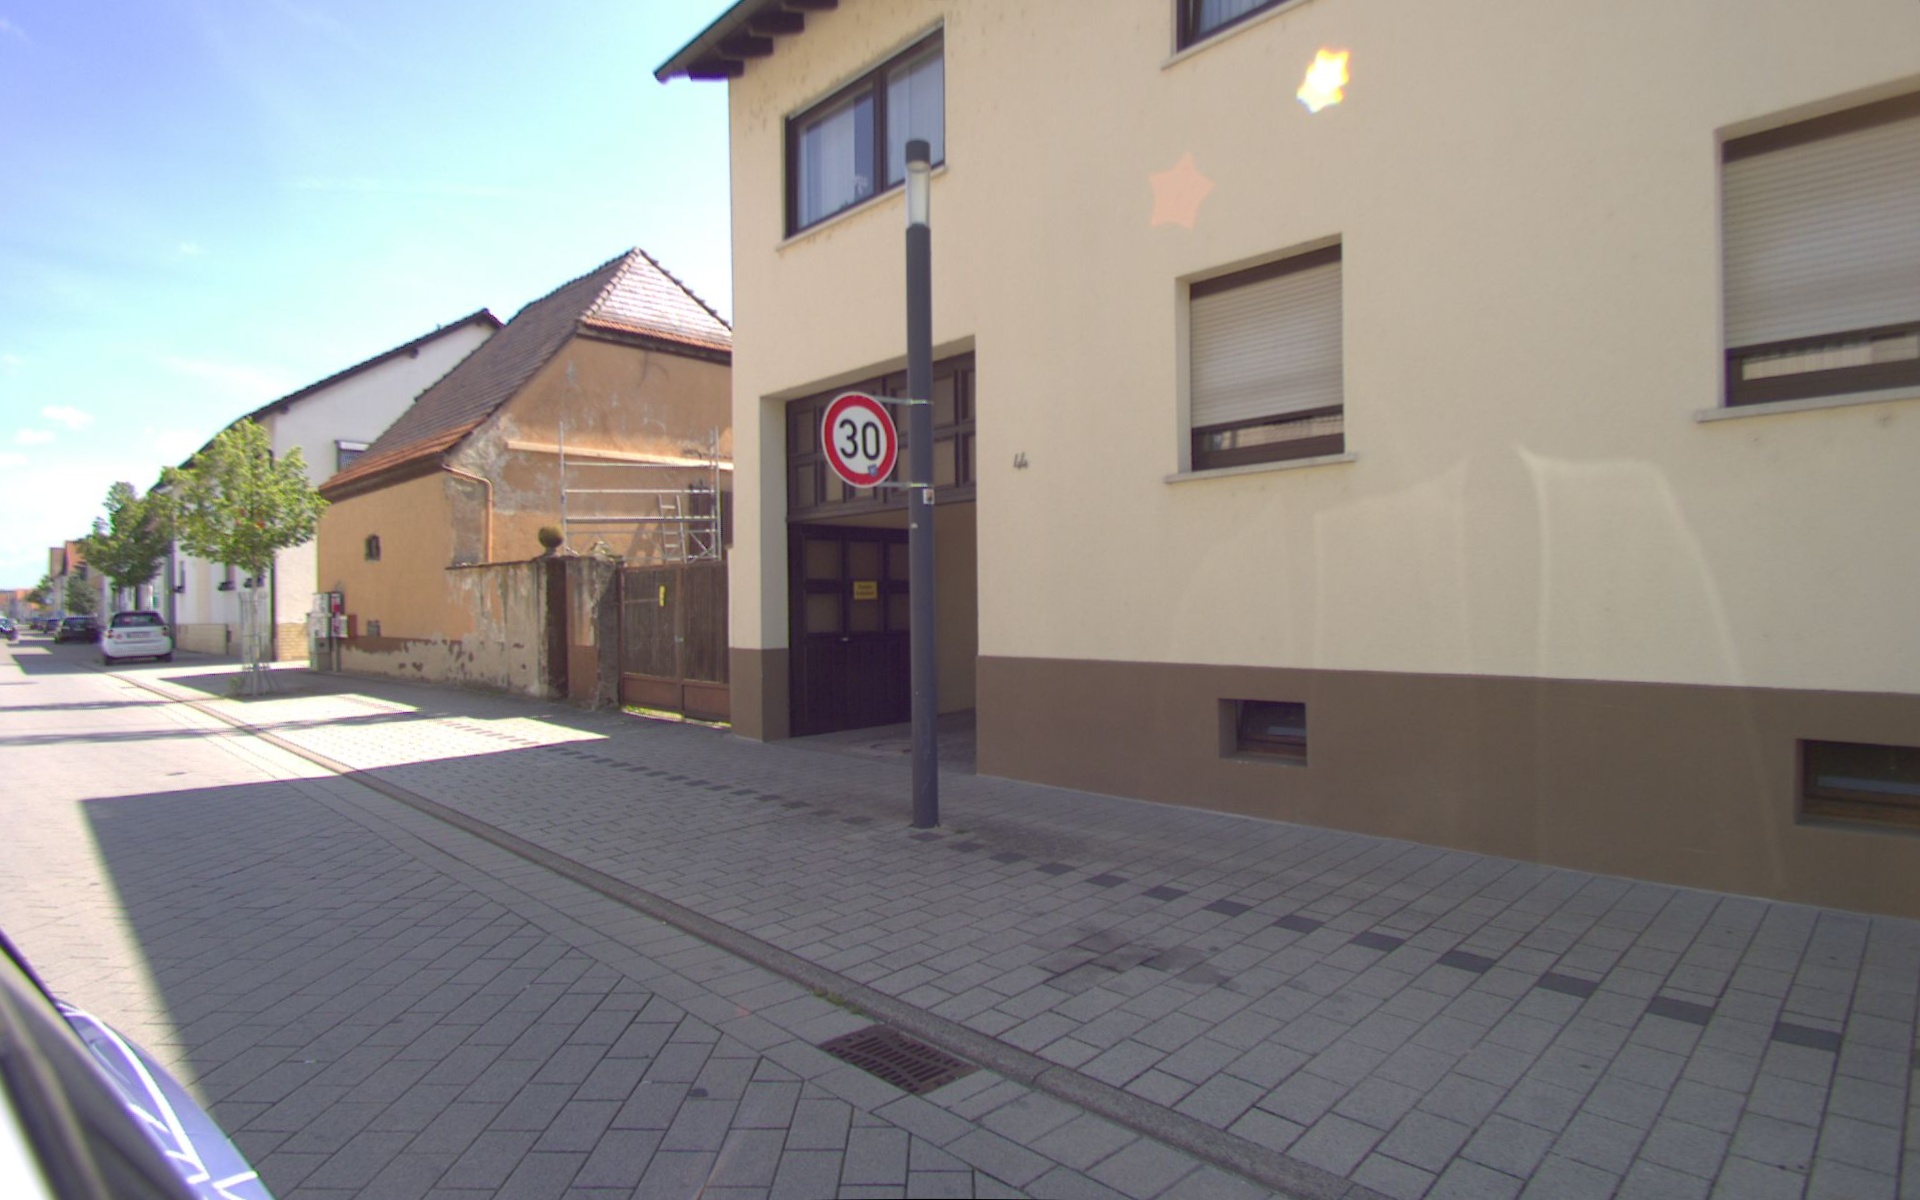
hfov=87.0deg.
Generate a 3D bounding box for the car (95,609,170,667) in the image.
[{"bbox_3d":[-24.885,1.093,30.412,1.553,1.573,2.825,-4,2,-42],"label":"car"}]

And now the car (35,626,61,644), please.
[{"bbox_3d":[-89.412,3.417,99.204,1.825,1.711,4.004,0,-1,-43],"label":"car"}]

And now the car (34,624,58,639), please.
[{"bbox_3d":[-103.821,3.544,114.970,4.002,1.564,1.829,-1,-1,44],"label":"car"}]

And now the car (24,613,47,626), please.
[{"bbox_3d":[-116.342,2.468,127.373,4.002,1.592,1.971,-1,-1,44],"label":"car"}]

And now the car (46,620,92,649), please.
[{"bbox_3d":[-51.163,1.944,58.100,3.957,1.578,1.728,-1,-1,45],"label":"car"}]

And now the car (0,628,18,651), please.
[{"bbox_3d":[-62.995,2.549,64.912,3.769,1.440,1.725,-1,0,4],"label":"car"}]

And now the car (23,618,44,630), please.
[{"bbox_3d":[-120.654,3.126,131.742,1.970,1.592,4.003,0,-1,-44],"label":"car"}]
